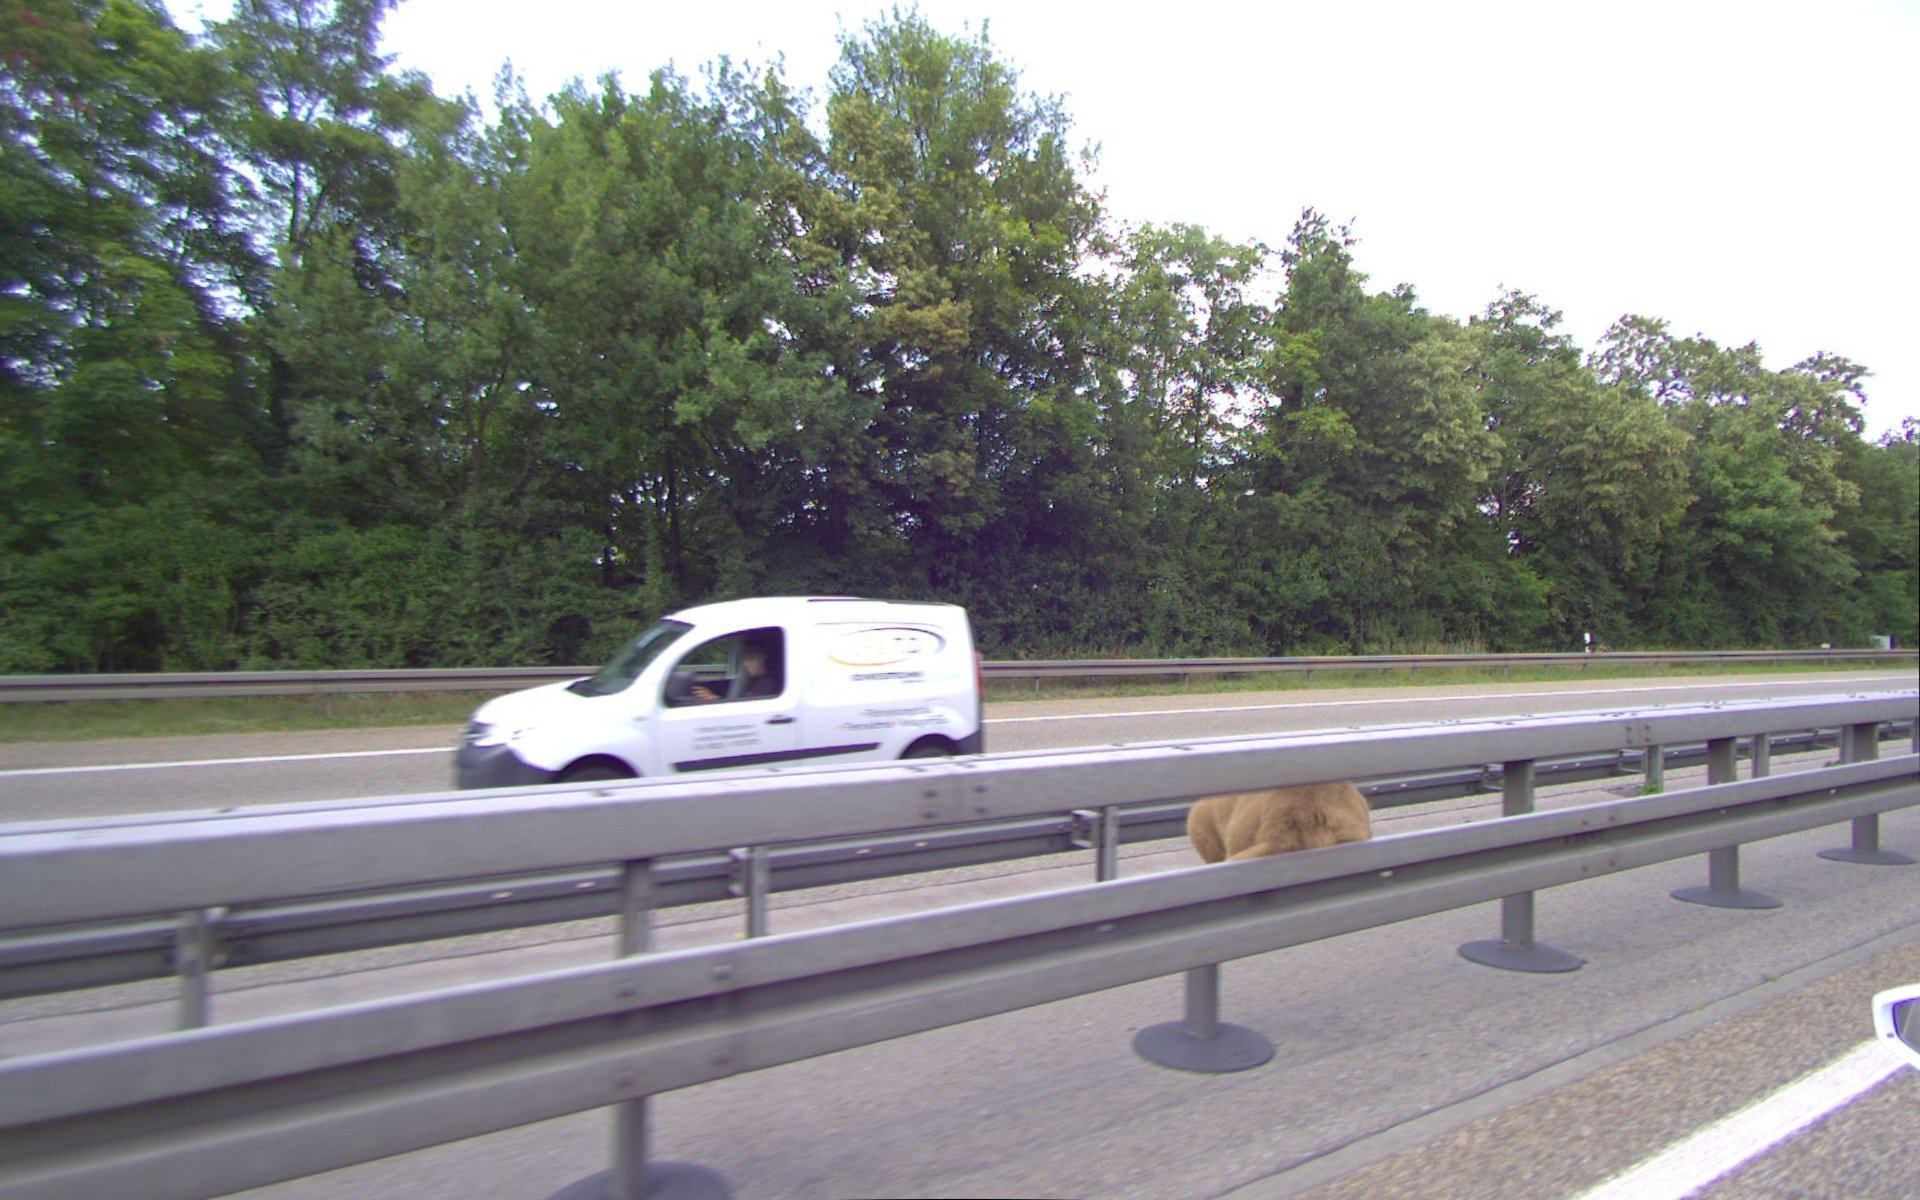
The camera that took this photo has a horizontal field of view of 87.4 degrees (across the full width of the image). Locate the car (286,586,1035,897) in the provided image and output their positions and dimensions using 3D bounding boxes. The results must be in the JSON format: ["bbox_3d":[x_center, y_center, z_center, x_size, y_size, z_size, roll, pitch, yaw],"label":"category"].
[{"bbox_3d":[-2.123,0.891,8.142,5.415,1.843,1.835,1,-1,-31],"label":"car"}]
